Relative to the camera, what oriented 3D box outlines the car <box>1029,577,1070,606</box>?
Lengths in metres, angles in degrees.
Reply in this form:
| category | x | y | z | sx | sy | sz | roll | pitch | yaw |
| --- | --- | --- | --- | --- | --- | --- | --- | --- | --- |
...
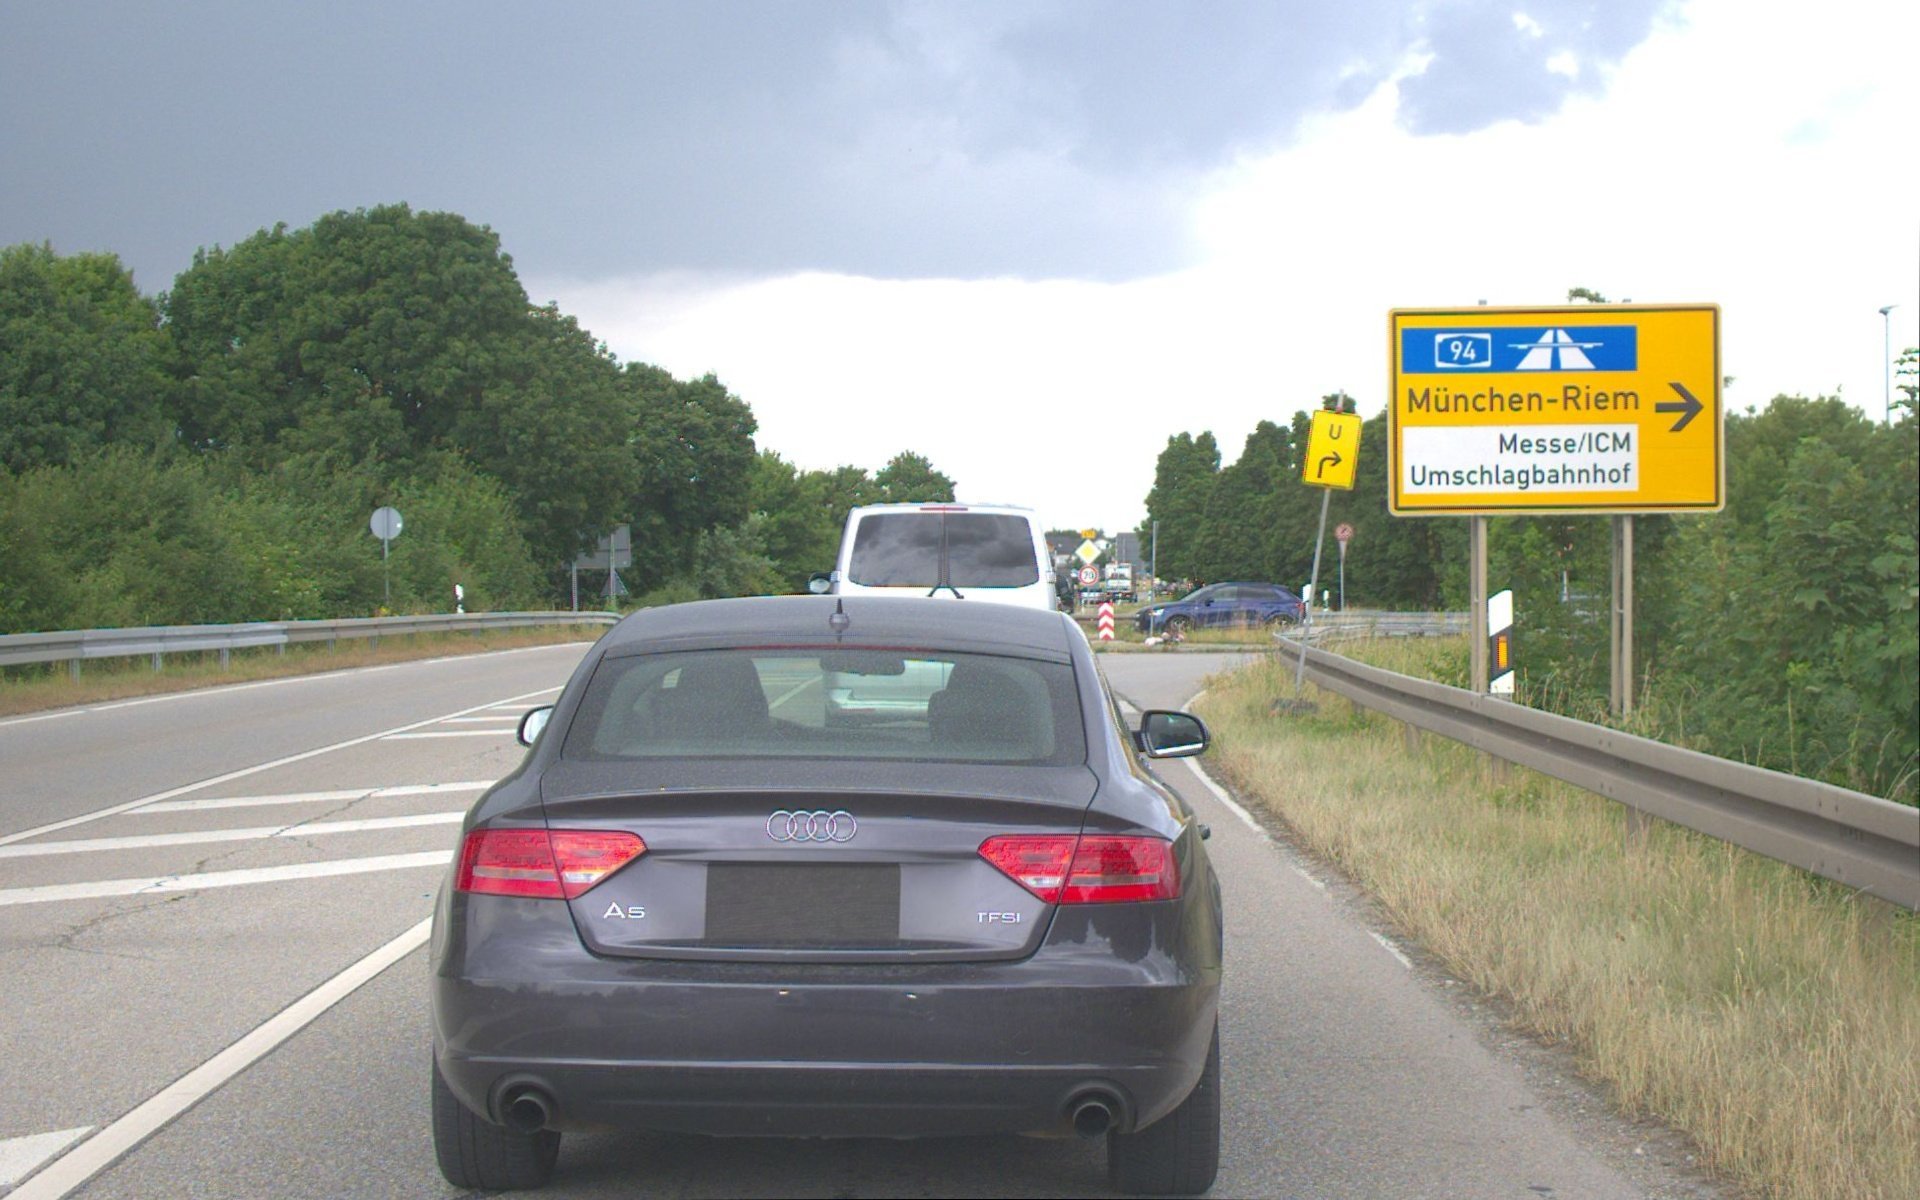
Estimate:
| category | x | y | z | sx | sy | sz | roll | pitch | yaw |
| --- | --- | --- | --- | --- | --- | --- | --- | --- | --- |
| car | 5.075 | -0.504 | 195.558 | 2.205 | 1.577 | 4.379 | 1 | 1 | 0 |

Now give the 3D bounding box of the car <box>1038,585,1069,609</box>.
| category | x | y | z | sx | sy | sz | roll | pitch | yaw |
| --- | --- | --- | --- | --- | --- | --- | --- | --- | --- |
| car | 5.831 | -0.180 | 214.395 | 1.734 | 1.449 | 4.000 | 1 | 1 | -1 |

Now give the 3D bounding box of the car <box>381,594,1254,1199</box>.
| category | x | y | z | sx | sy | sz | roll | pitch | yaw |
| --- | --- | --- | --- | --- | --- | --- | --- | --- | --- |
| car | -0.310 | 0.698 | 8.705 | 1.779 | 1.394 | 3.336 | 0 | 0 | -1 |

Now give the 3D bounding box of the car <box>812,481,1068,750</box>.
| category | x | y | z | sx | sy | sz | roll | pitch | yaw |
| --- | --- | --- | --- | --- | --- | --- | --- | --- | --- |
| car | -0.167 | 0.088 | 28.022 | 1.910 | 2.007 | 4.000 | 1 | 1 | 0 |
